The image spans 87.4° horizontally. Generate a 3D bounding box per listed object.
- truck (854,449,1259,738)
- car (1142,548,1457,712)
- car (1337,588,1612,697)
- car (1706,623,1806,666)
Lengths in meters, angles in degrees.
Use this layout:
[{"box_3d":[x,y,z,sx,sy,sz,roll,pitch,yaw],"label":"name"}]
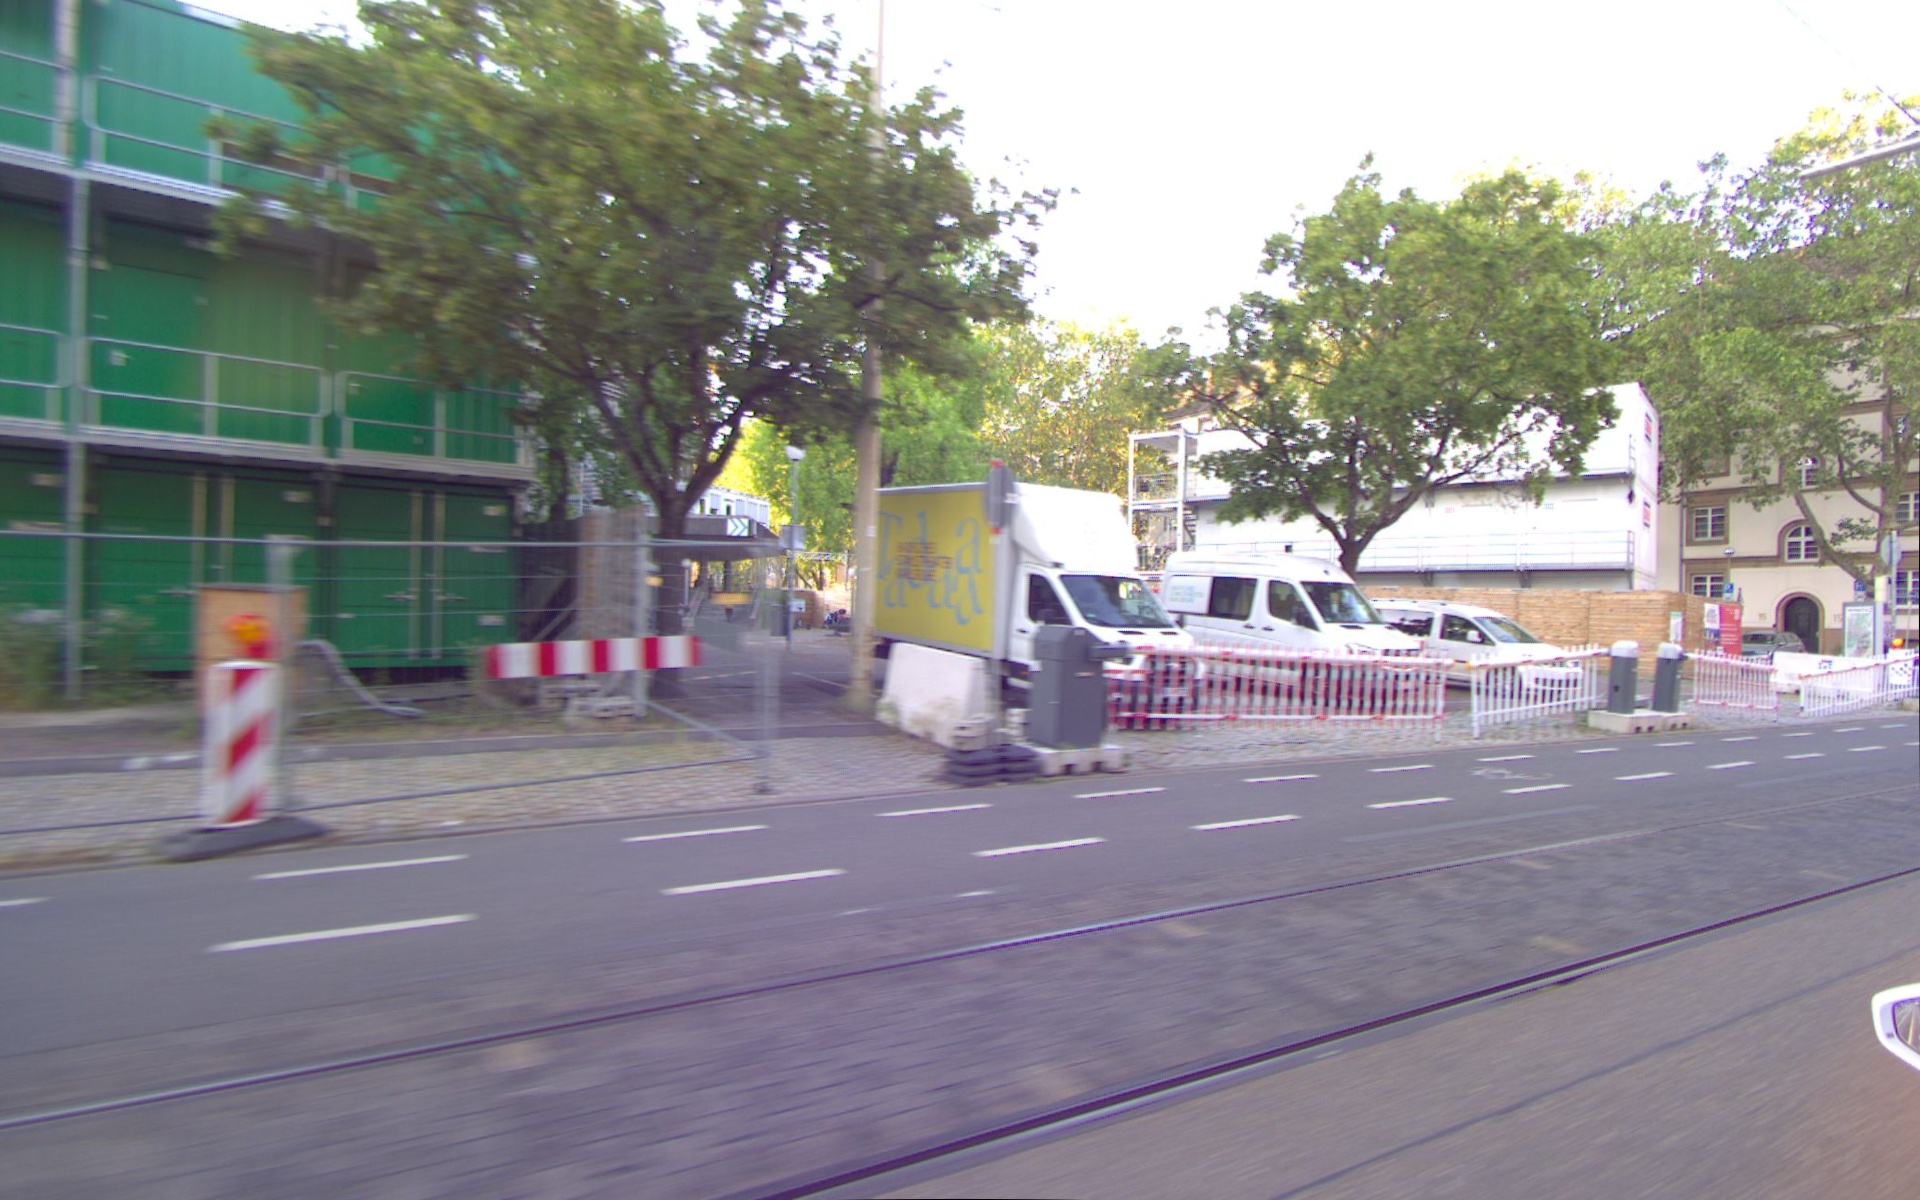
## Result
[{"box_3d":[1.063,-0.180,15.902,2.514,3.527,7.015,1,2,-33],"label":"truck"},{"box_3d":[6.084,0.402,18.803,2.202,2.593,5.369,1,2,-32],"label":"car"},{"box_3d":[10.965,0.798,21.901,2.197,1.971,5.010,1,1,-25],"label":"car"},{"box_3d":[32.902,1.837,41.503,4.070,1.661,1.903,2,-1,-30],"label":"car"}]
